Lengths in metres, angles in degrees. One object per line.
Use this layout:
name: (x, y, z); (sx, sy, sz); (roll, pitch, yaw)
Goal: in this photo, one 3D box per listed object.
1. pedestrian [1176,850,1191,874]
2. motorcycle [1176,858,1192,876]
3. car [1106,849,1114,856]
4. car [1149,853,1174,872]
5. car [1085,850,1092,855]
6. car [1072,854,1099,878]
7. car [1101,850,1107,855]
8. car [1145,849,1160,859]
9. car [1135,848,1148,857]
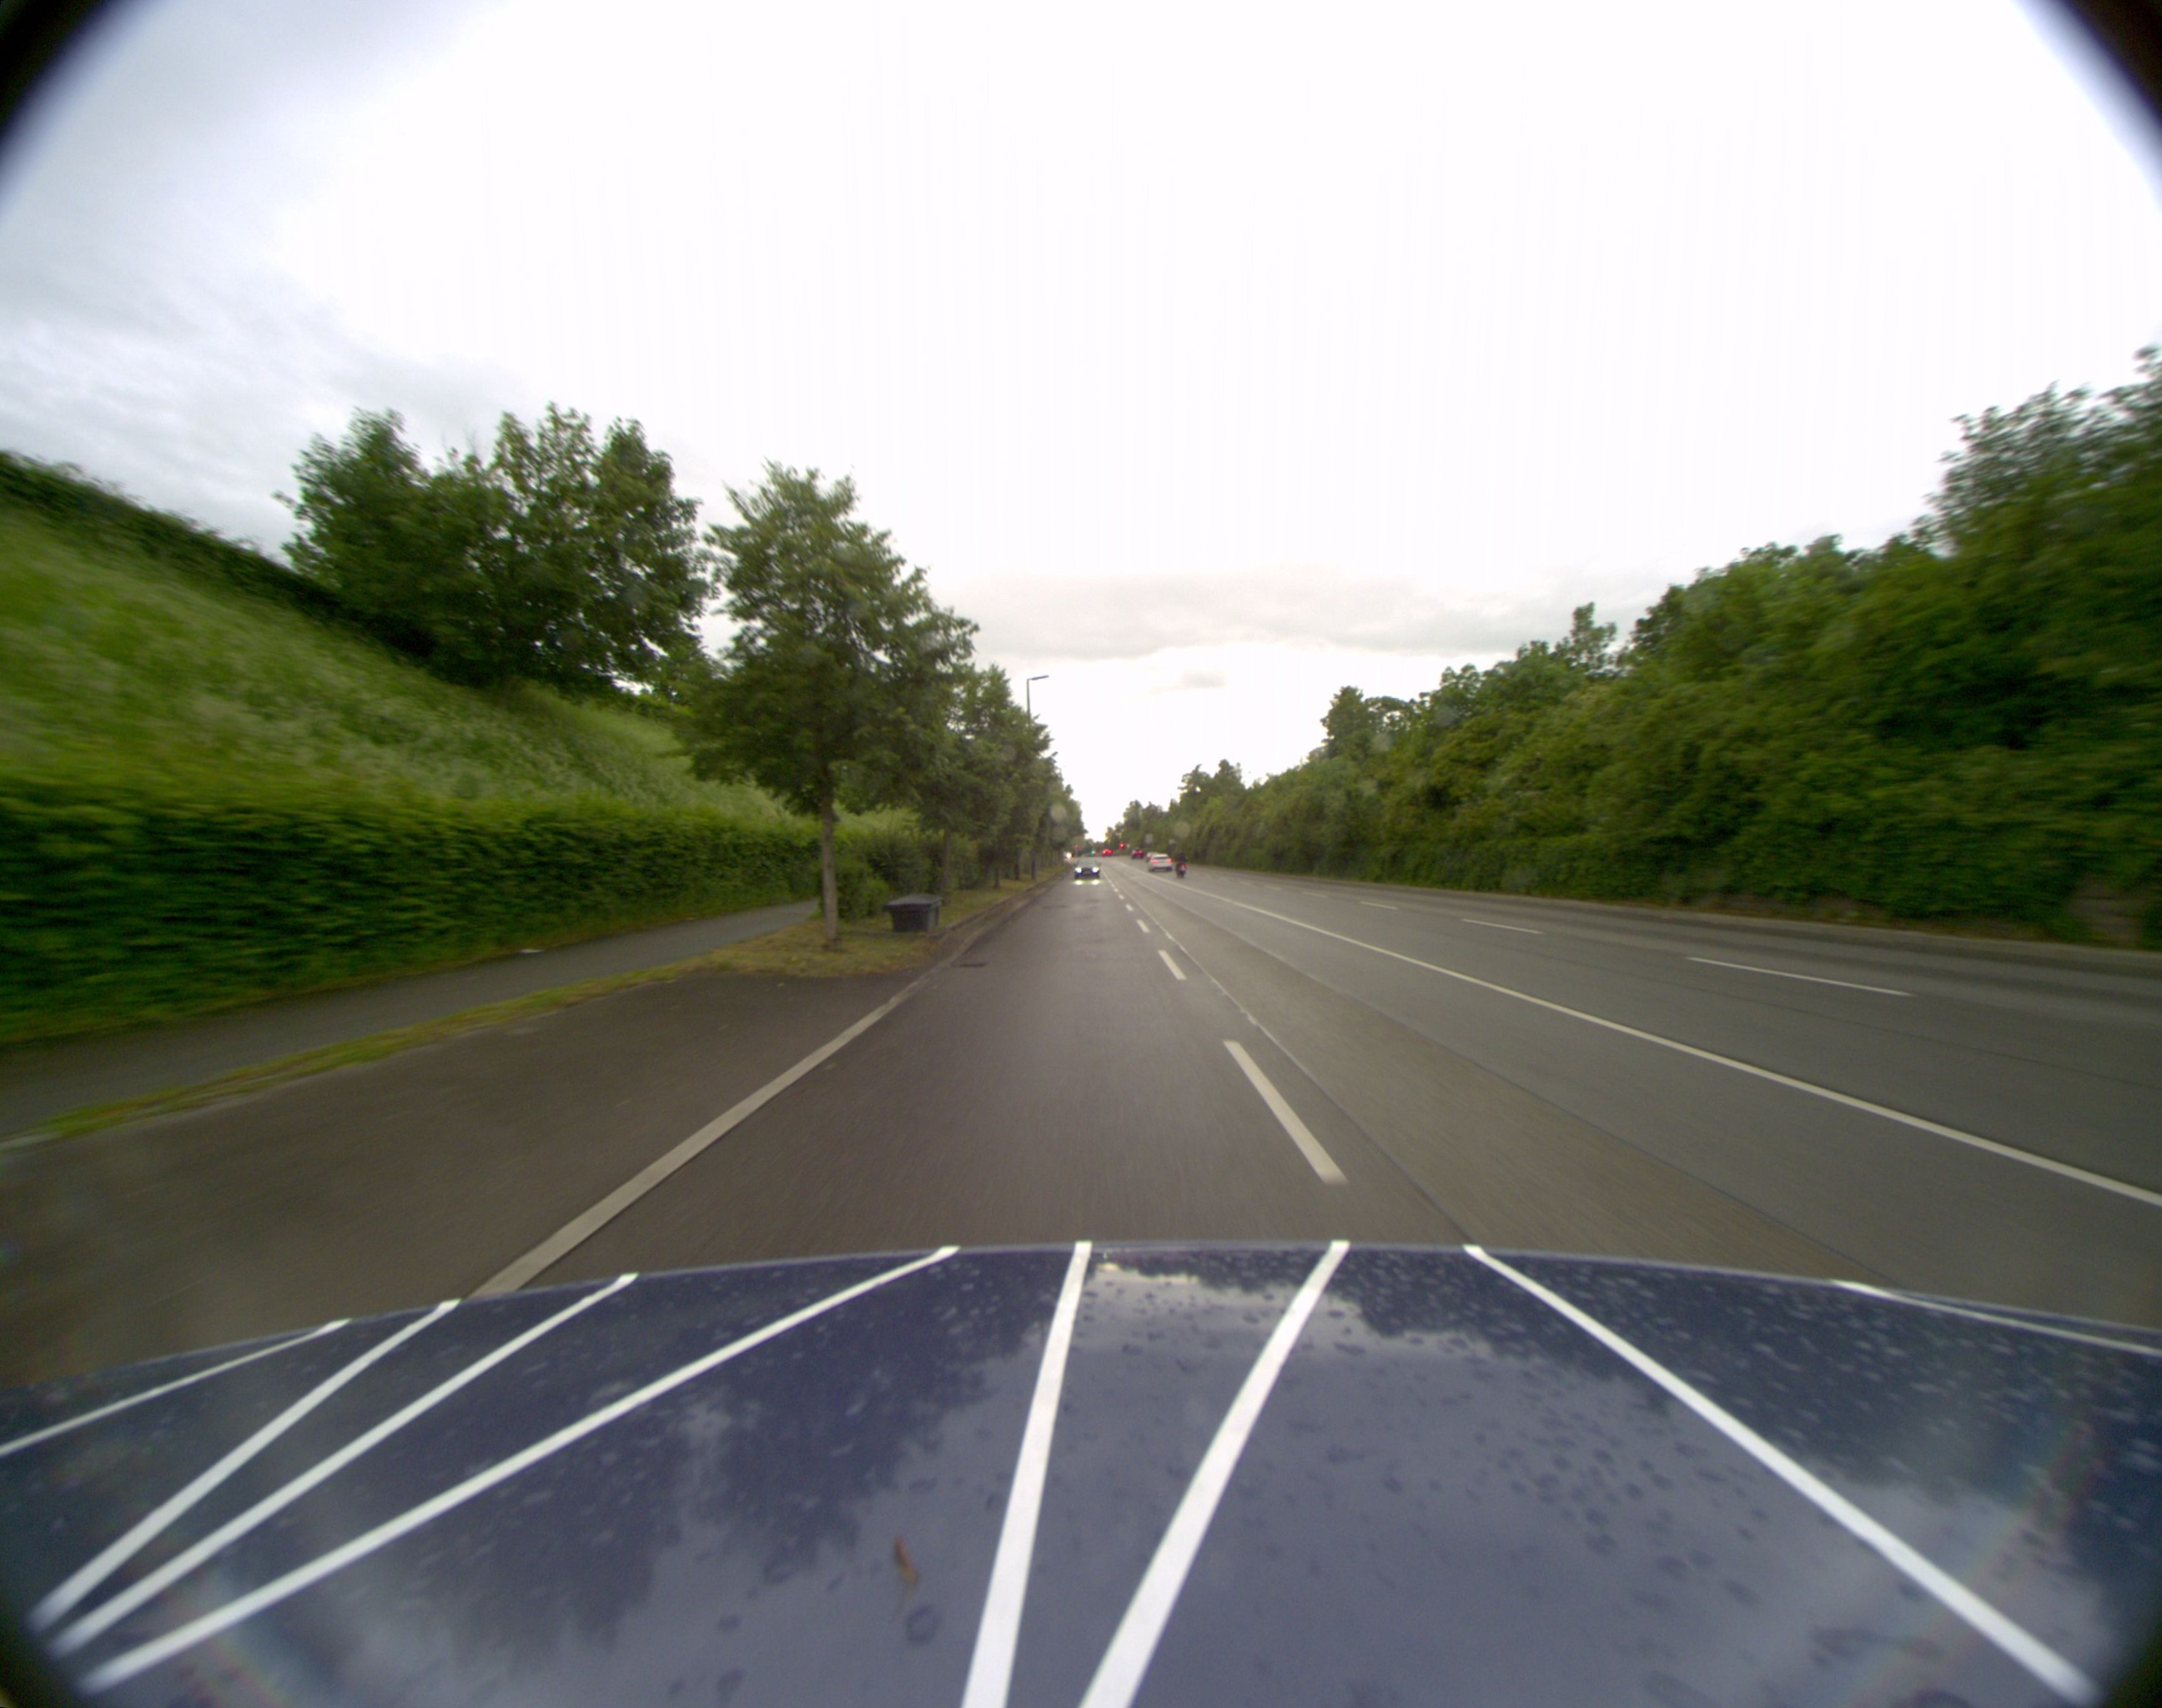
pedestrian: (6.751, 0.522, 49.950); (0.807, 1.533, 1.111); (-2, 1, 1)
motorcycle: (6.762, 0.841, 49.974); (0.807, 1.124, 2.231); (-2, 1, 1)
car: (6.993, -0.387, 184.914); (1.817, 1.648, 4.594); (-2, 1, 0)
car: (7.021, 0.690, 66.730); (1.719, 1.496, 4.516); (-3, 0, 1)
car: (2.571, -0.587, 261.394); (1.805, 1.597, 4.424); (-2, 1, -8)
car: (0.316, 0.835, 55.427); (1.738, 1.577, 4.284); (-2, 0, -2)
car: (7.134, -0.563, 235.924); (1.553, 1.429, 3.693); (-2, 1, -7)
car: (10.204, -0.023, 108.816); (1.764, 1.373, 4.838); (-3, 0, 1)
car: (11.083, -0.293, 139.134); (1.903, 1.544, 4.630); (-3, 1, 1)
